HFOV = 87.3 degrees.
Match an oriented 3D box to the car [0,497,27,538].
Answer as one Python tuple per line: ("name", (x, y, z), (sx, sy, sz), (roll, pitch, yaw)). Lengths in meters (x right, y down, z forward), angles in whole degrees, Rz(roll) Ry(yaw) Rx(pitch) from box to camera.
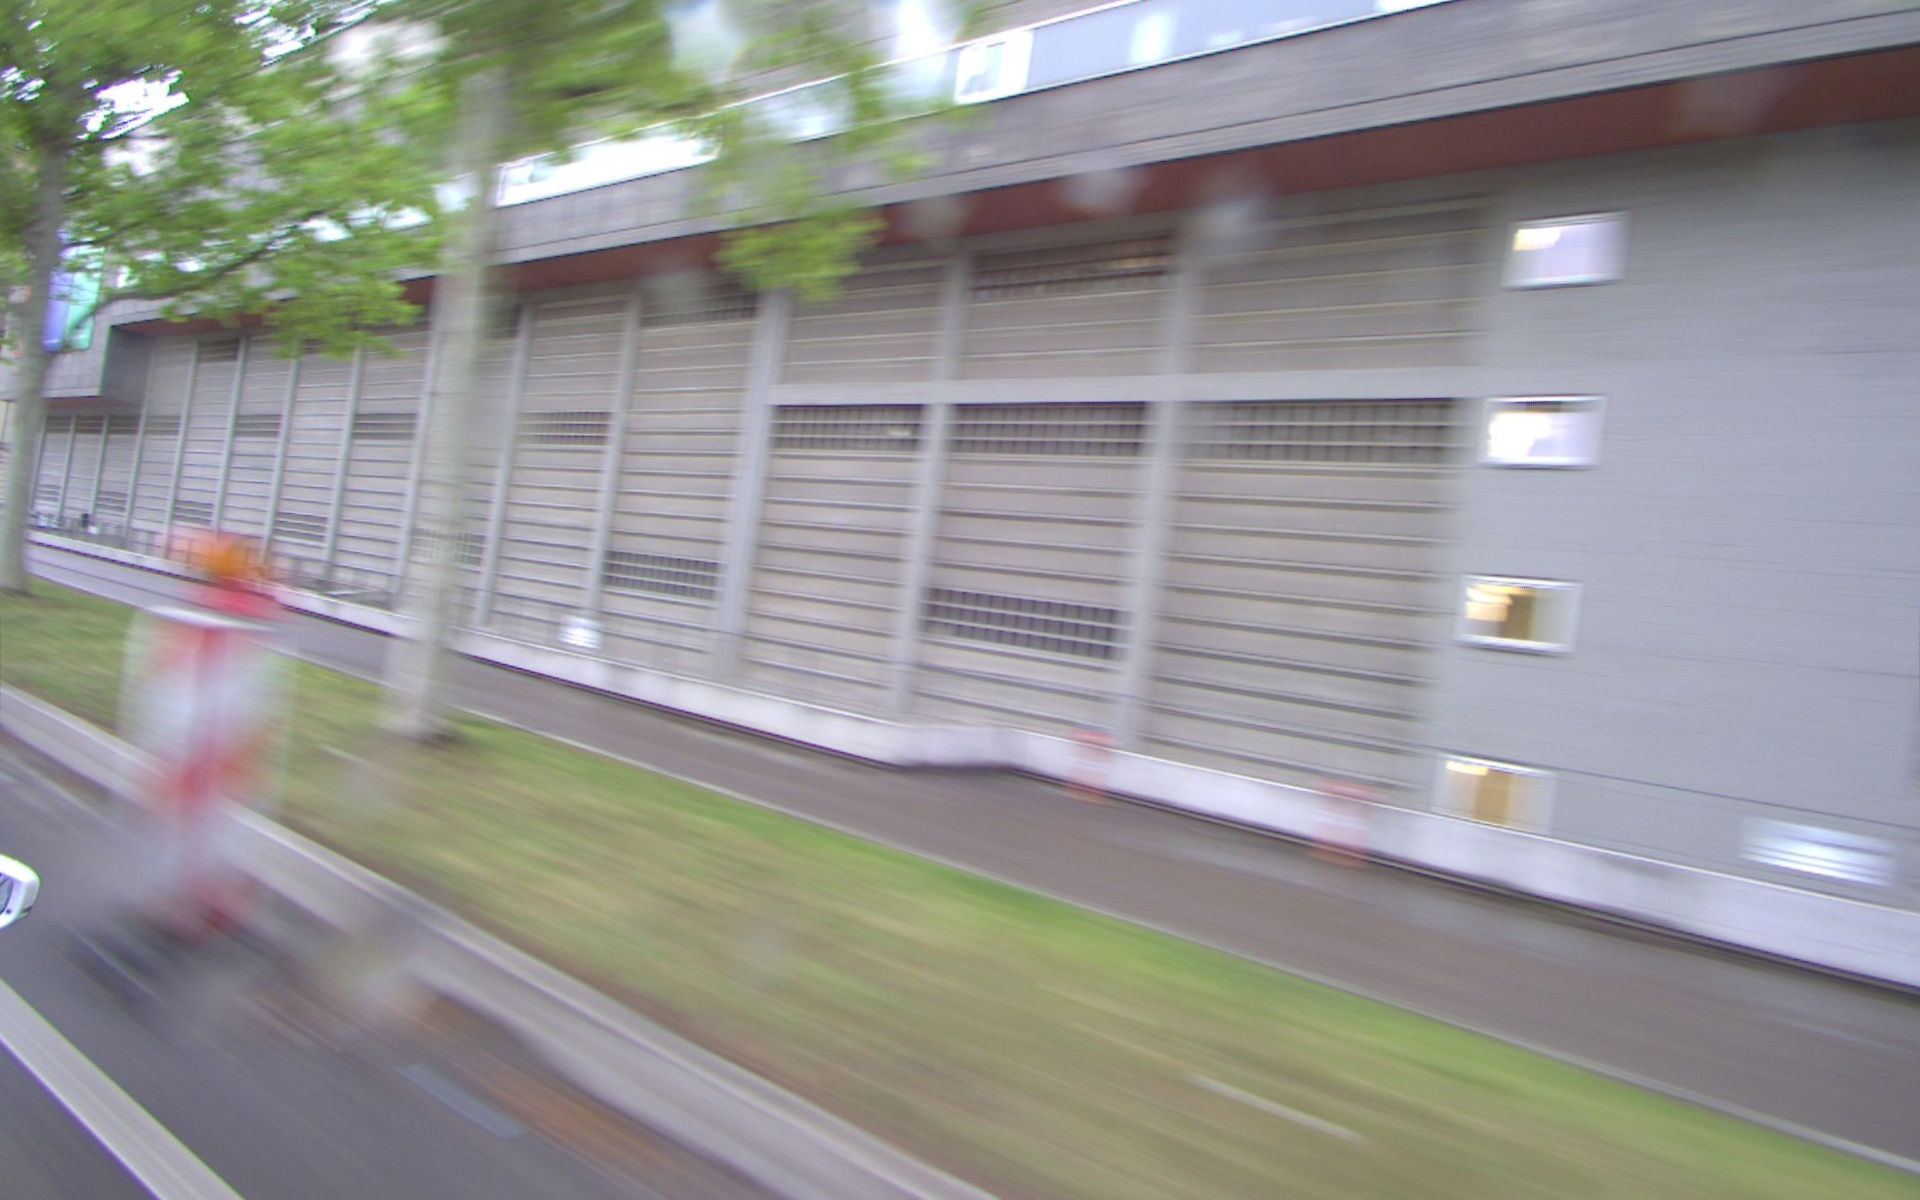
("car", (-46.721, -4.087, 47.909), (5.014, 1.779, 1.998), (5, -3, 33))

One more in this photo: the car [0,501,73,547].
("car", (-40.729, -3.367, 42.815), (1.902, 1.577, 3.994), (4, -3, 32))
